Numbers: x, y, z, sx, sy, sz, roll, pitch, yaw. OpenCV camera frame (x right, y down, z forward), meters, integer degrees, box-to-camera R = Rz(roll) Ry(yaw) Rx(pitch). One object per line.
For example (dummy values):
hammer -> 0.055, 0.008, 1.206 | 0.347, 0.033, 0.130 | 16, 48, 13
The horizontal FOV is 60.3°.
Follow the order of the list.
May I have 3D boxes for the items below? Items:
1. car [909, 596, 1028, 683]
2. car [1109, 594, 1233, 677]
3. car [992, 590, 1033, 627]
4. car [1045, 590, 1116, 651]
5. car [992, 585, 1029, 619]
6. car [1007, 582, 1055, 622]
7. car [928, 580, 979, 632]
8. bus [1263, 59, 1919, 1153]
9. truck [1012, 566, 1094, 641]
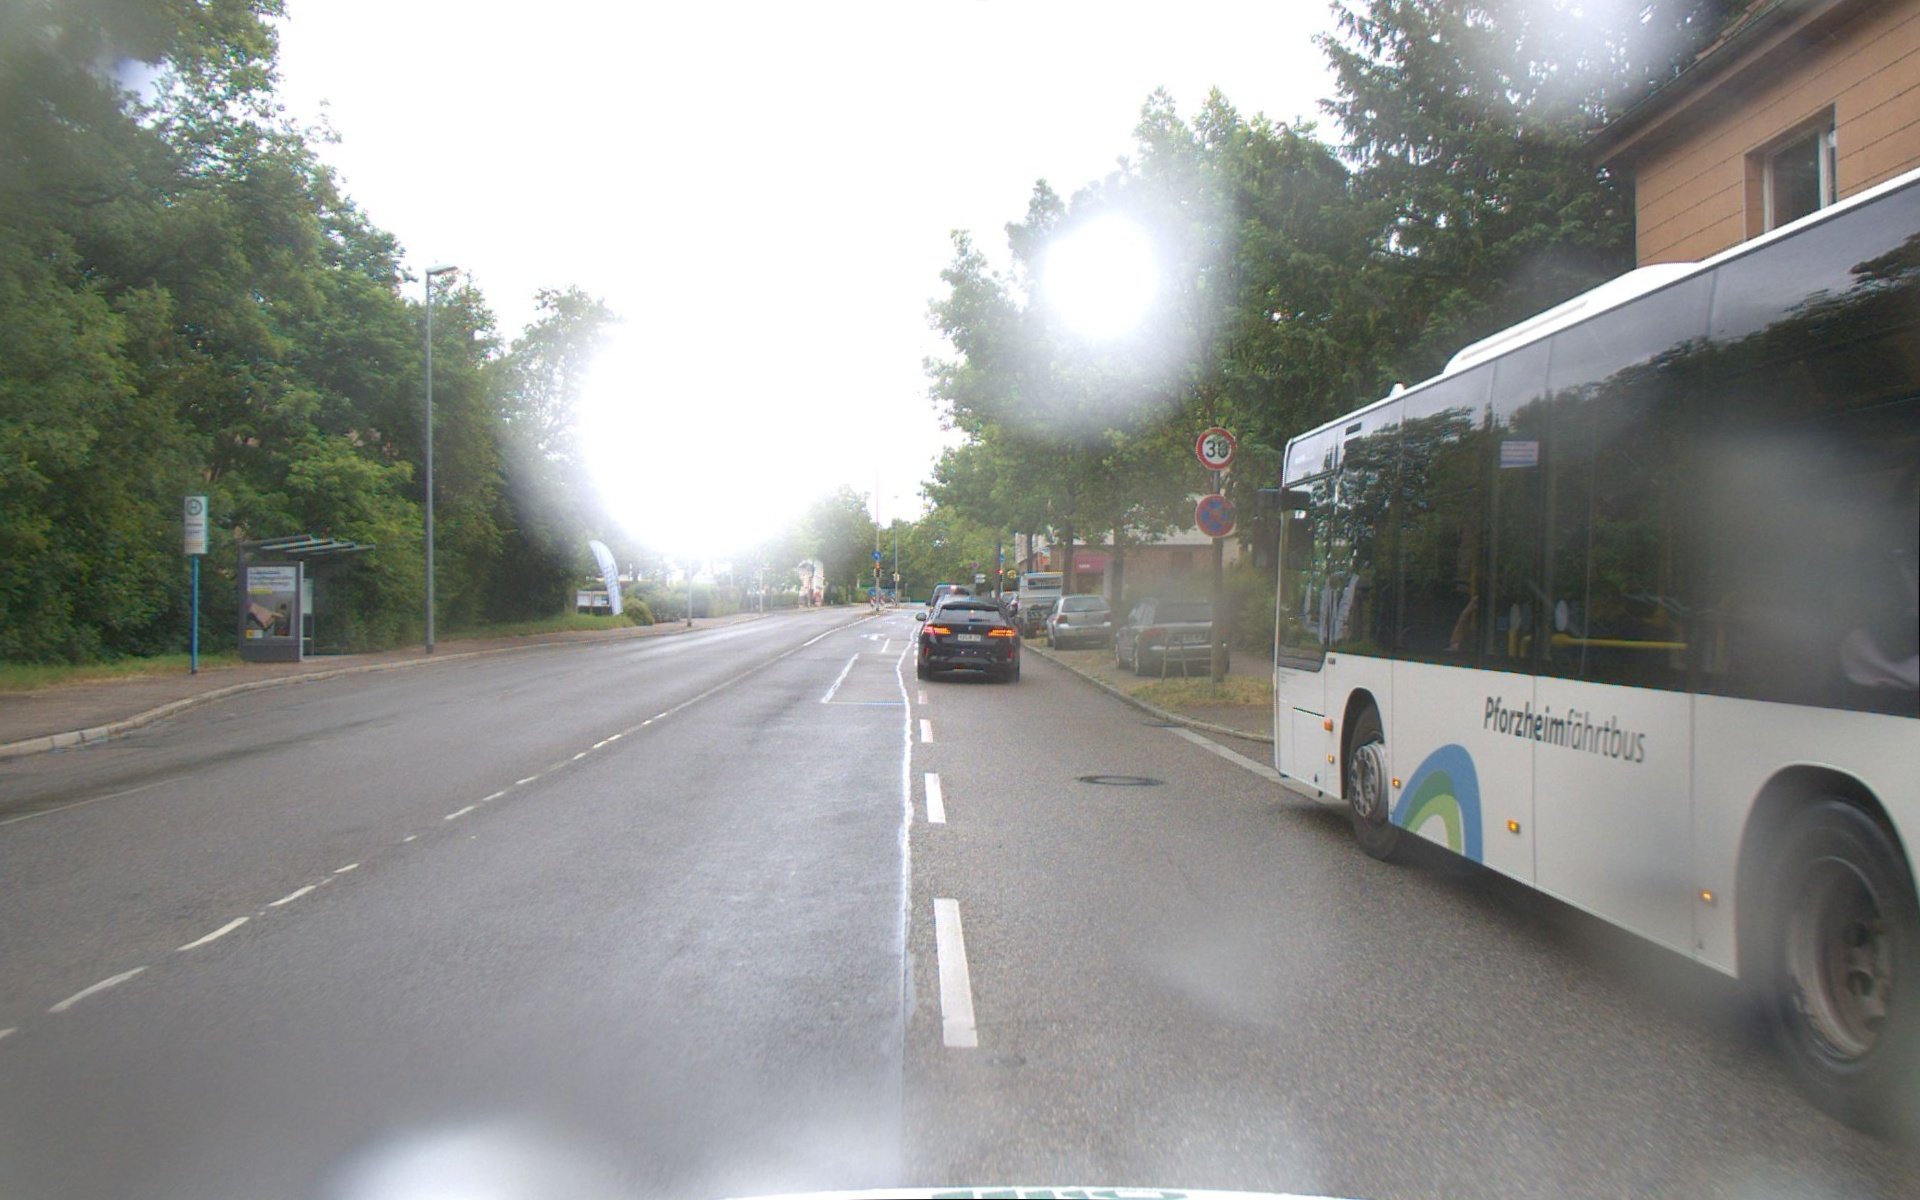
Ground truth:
car -> 0.081, 0.693, 31.251 | 2.023, 1.472, 4.481 | 1, 0, -2
car -> 4.009, 0.624, 32.046 | 1.654, 1.414, 4.498 | -2, 1, -2
car -> 2.327, 0.358, 73.983 | 1.572, 1.497, 3.856 | -3, 1, -1
car -> 3.278, 0.520, 45.551 | 1.569, 1.461, 4.021 | -3, 1, 0
car -> 2.514, 0.081, 83.259 | 1.552, 1.516, 3.626 | -3, 1, -2
car -> 2.874, 0.055, 67.818 | 1.679, 1.524, 4.183 | -3, 1, -1
car -> -0.274, 0.201, 60.951 | 1.748, 1.849, 3.999 | 0, 1, -2
bus -> 3.762, -0.022, 8.040 | 2.505, 3.011, 9.446 | 0, 1, -2
truck -> 3.037, 0.080, 55.343 | 2.038, 2.260, 6.499 | -3, 1, -2
